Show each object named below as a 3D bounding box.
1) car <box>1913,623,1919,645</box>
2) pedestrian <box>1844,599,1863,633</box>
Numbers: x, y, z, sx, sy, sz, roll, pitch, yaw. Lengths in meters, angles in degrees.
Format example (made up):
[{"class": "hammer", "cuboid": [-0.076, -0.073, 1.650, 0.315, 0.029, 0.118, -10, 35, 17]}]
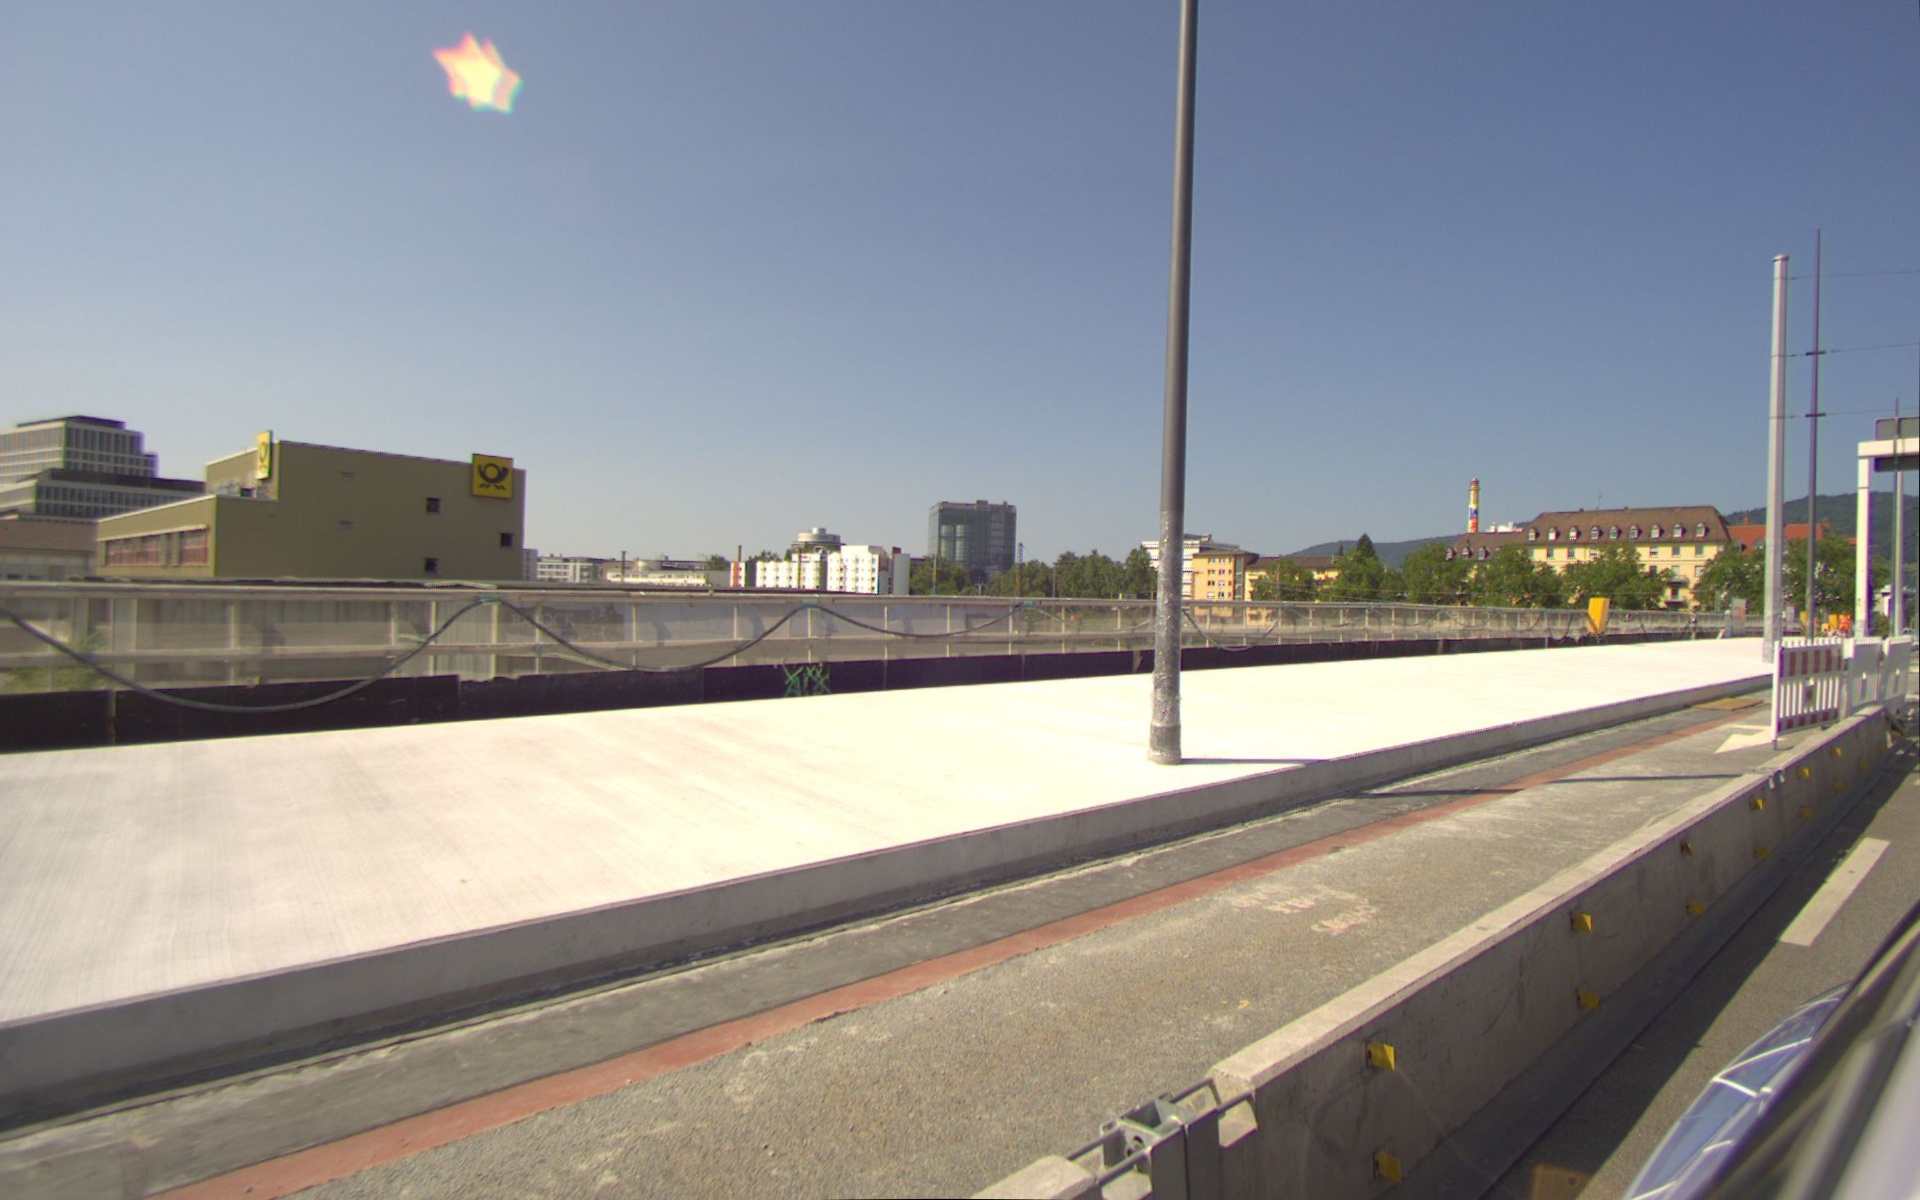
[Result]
[{"class": "car", "cuboid": [100.540, 3.561, 105.085, 6.359, 2.117, 1.935, 4, -2, -43]}, {"class": "pedestrian", "cuboid": [54.322, 0.968, 61.509, 0.999, 1.989, 0.732, 2, 0, -45]}]
